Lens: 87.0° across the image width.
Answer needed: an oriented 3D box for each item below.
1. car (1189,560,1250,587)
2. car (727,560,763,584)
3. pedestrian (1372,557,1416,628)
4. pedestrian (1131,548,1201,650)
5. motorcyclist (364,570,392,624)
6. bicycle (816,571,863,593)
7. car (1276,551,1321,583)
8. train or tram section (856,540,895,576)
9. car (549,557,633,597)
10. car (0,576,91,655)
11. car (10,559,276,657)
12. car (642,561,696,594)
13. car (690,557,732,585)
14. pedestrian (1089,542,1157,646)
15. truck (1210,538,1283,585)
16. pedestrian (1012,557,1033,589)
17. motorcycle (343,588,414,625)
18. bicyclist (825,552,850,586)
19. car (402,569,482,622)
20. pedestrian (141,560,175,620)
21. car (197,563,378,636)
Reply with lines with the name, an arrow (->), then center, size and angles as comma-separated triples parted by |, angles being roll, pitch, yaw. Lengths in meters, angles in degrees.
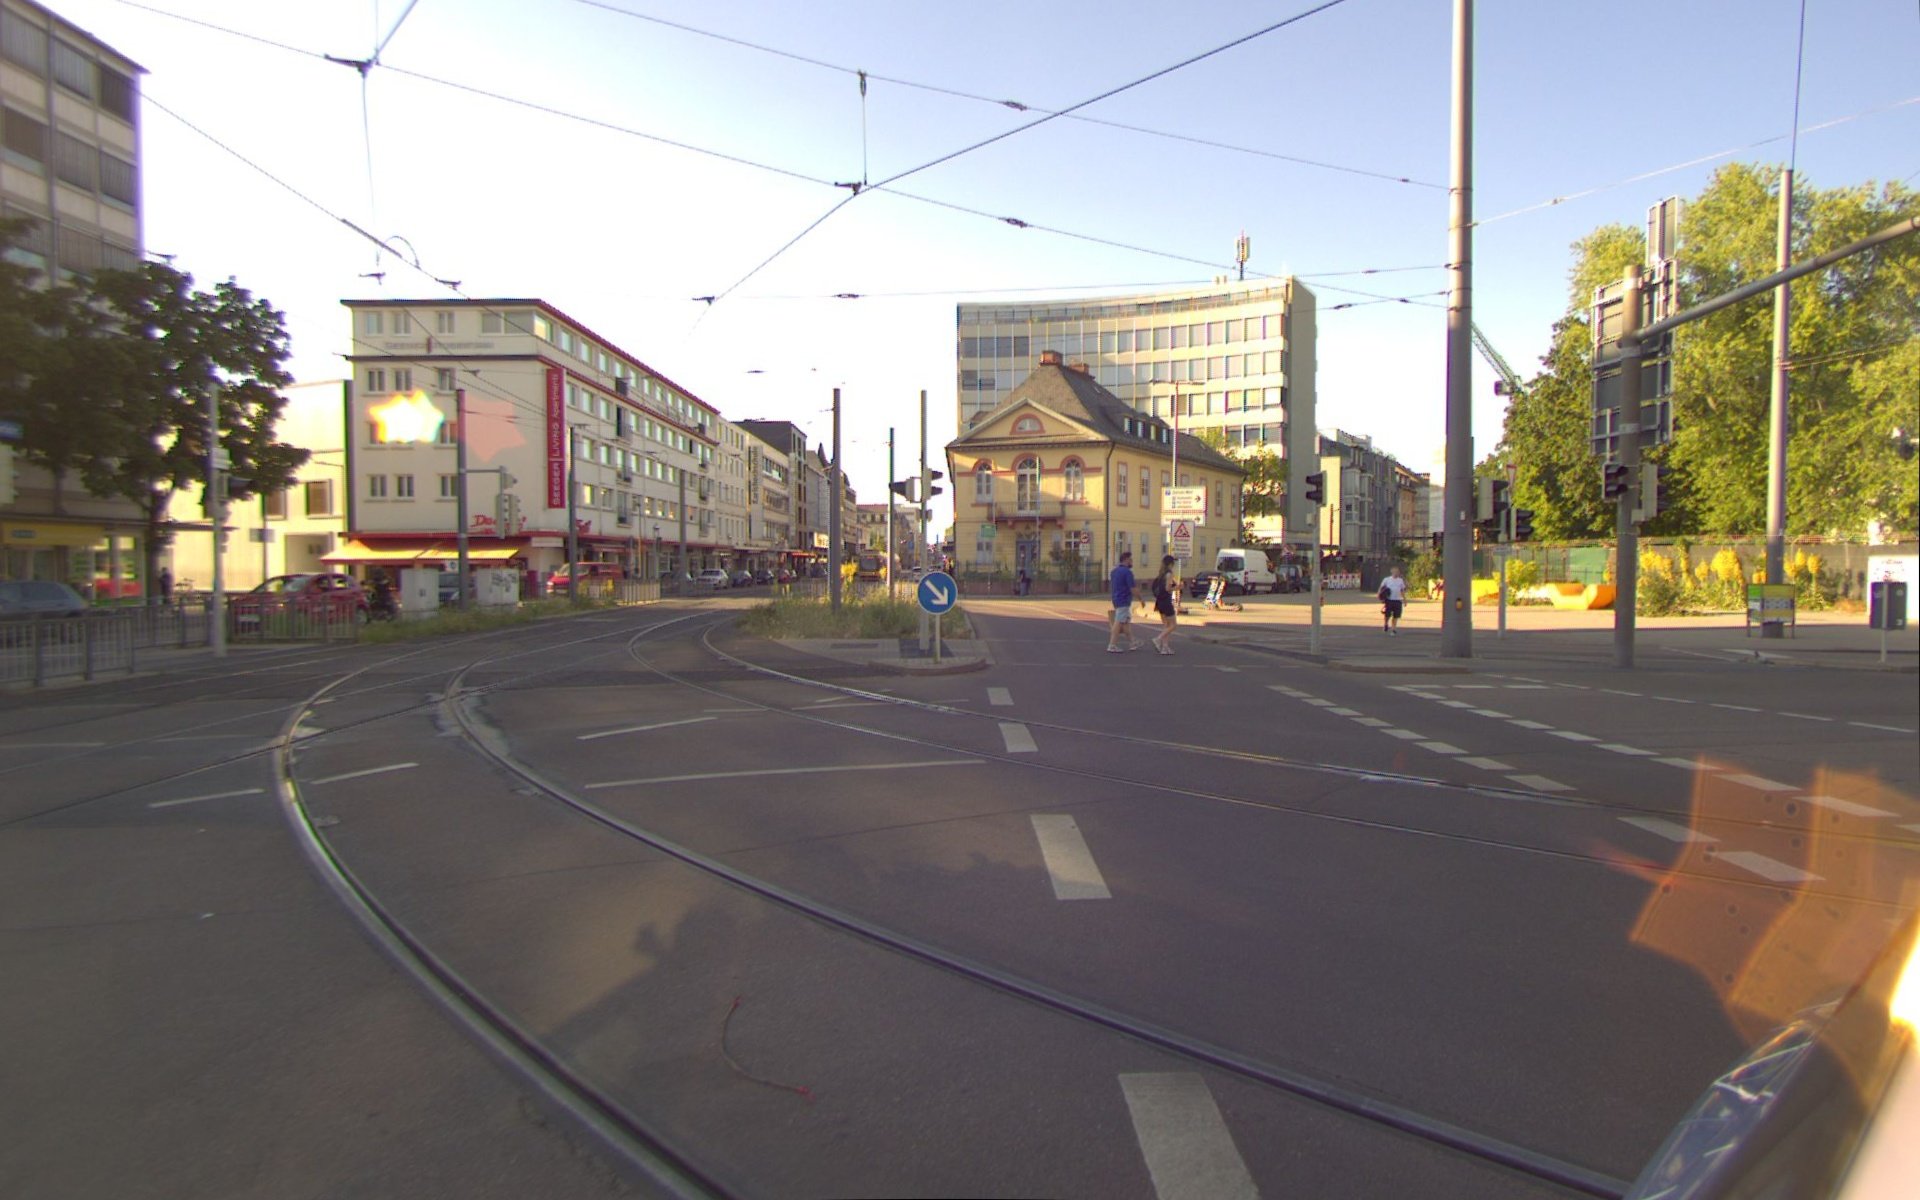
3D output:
car -> 13.838, -1.396, 53.839 | 1.704, 1.381, 4.140 | -1, 1, 37
car -> -18.784, -2.402, 88.603 | 1.963, 2.039, 4.871 | -1, 1, 2
pedestrian -> 11.152, -0.196, 26.032 | 0.748, 1.784, 1.006 | -1, 0, 7
pedestrian -> 3.591, -0.026, 17.617 | 1.024, 1.703, 0.696 | -1, 0, -42
motorcyclist -> -16.793, -0.089, 29.197 | 0.525, 1.527, 0.462 | -1, 0, 0
bicycle -> -5.345, -0.793, 44.889 | 1.954, 0.960, 0.724 | -2, 1, -36
car -> 22.399, -2.166, 66.898 | 1.704, 2.005, 3.713 | -1, 1, 37
train or tram section -> -9.588, -4.863, 116.519 | 3.644, 3.880, 13.369 | -1, 2, -1
car -> -18.085, -1.115, 49.807 | 1.872, 1.865, 4.615 | -1, 1, 9
car -> -20.779, 0.339, 21.105 | 1.809, 1.638, 4.081 | -1, 1, 0
car -> -15.192, 0.102, 19.142 | 1.809, 1.638, 4.000 | -1, 1, 0
car -> -18.849, -1.447, 65.730 | 1.963, 2.039, 4.871 | -1, 1, 2
car -> -19.570, -2.251, 79.820 | 1.963, 2.039, 4.871 | -1, 1, 2
pedestrian -> 2.942, -0.121, 18.221 | 1.024, 1.815, 0.696 | -1, 0, -42
truck -> 16.685, -2.202, 58.705 | 2.287, 2.580, 5.566 | -1, 1, 36
pedestrian -> 3.267, -1.393, 52.818 | 0.801, 1.663, 0.687 | -1, 0, -30
motorcycle -> -16.790, 0.167, 29.289 | 0.525, 1.014, 2.671 | -1, 1, 0
bicyclist -> -5.429, -1.356, 44.834 | 0.881, 1.475, 0.724 | -1, 0, -35
car -> -17.199, -0.170, 33.774 | 1.805, 1.638, 4.008 | -1, 1, -19
pedestrian -> -27.845, -0.355, 35.142 | 0.705, 2.039, 0.625 | -1, 0, 15
car -> -16.522, -0.036, 25.131 | 1.809, 1.638, 4.000 | -1, 1, 0
